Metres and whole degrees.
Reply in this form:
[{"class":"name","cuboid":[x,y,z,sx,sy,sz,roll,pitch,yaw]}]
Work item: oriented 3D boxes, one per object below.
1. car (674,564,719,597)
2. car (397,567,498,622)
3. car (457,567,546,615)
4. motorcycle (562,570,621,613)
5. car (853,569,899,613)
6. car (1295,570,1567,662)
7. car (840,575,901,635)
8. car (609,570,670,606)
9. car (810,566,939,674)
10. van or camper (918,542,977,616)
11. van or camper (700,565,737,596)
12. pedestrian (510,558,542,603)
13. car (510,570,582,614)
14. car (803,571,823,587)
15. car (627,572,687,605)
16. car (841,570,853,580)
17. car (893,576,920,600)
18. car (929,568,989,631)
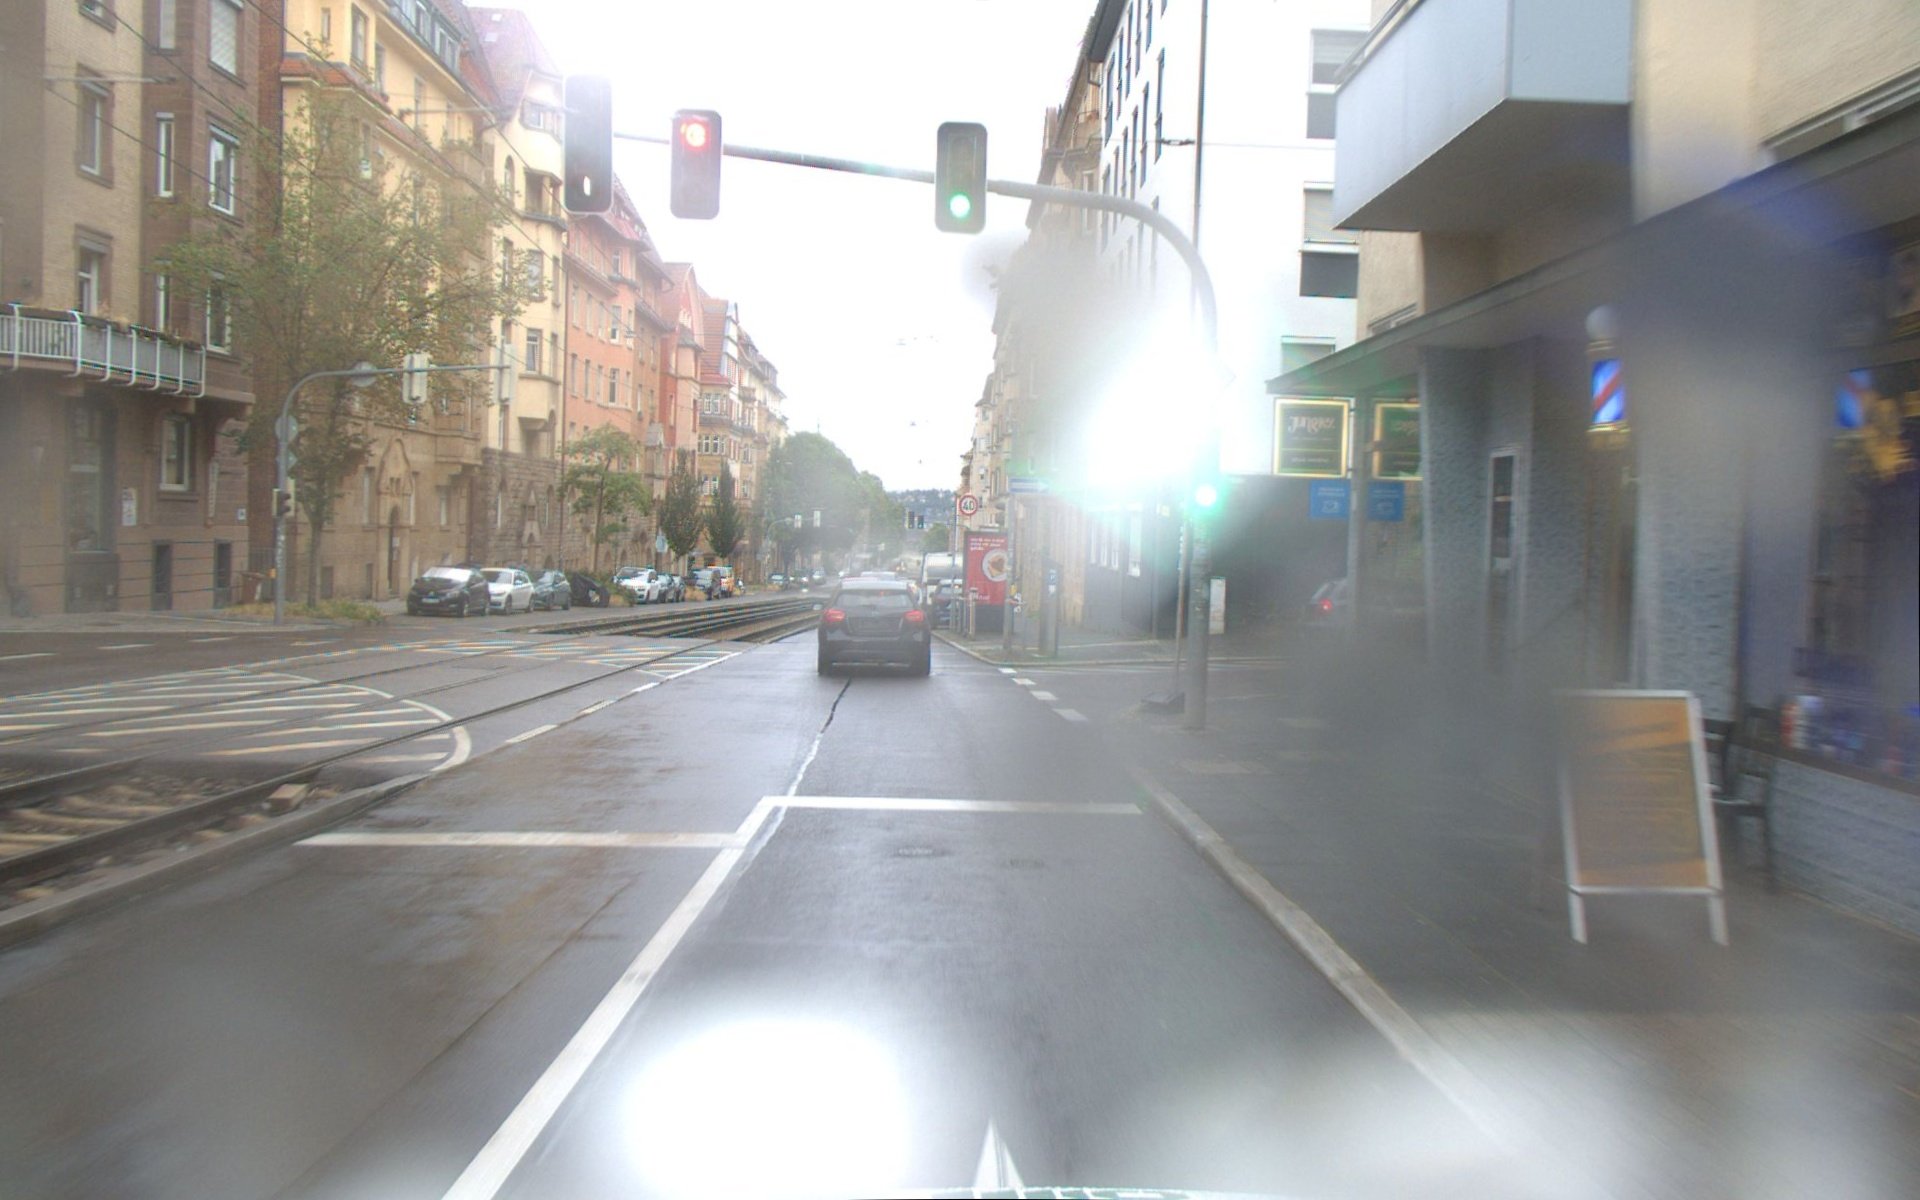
[{"class":"car","cuboid":[-16.092,-1.196,101.308,1.953,1.934,4.699,1,0,0]},{"class":"car","cuboid":[-15.082,-0.143,48.869,1.729,1.512,4.000,1,0,0]},{"class":"car","cuboid":[-14.910,-0.305,53.948,1.633,1.450,4.263,2,0,1]},{"class":"motorcycle","cuboid":[-15.172,-0.351,68.108,2.224,1.671,1.286,1,0,-18]},{"class":"car","cuboid":[-3.570,-0.405,69.733,1.884,1.684,3.997,0,2,-4]},{"class":"car","cuboid":[7.512,0.233,26.659,3.904,1.439,1.761,0,1,1]},{"class":"car","cuboid":[-2.542,0.095,47.444,1.504,1.536,4.000,2,2,0]},{"class":"car","cuboid":[-15.165,-0.581,78.562,1.747,1.617,4.353,1,0,4]},{"class":"car","cuboid":[-1.330,0.294,26.585,1.907,1.592,3.641,1,0,-2]},{"class":"van or camper","cuboid":[-0.458,-0.731,60.506,2.022,2.512,6.118,1,0,-1]},{"class":"van or camper","cuboid":[-15.910,-1.316,109.312,1.954,1.934,4.697,0,1,-3]},{"class":"pedestrian","cuboid":[-17.607,-0.786,67.157,0.986,1.784,0.924,3,0,0]},{"class":"car","cuboid":[-14.989,-0.310,60.004,1.529,1.463,4.147,0,2,0]},{"class":"car","cuboid":[-17.027,-2.451,191.291,1.953,1.825,4.000,2,1,-1]},{"class":"car","cuboid":[-15.442,-0.589,84.556,1.952,1.535,4.976,3,1,2]},{"class":"car","cuboid":[-17.463,-3.859,255.770,1.760,1.575,3.996,2,0,-4]},{"class":"car","cuboid":[-3.902,-0.868,121.651,1.864,1.621,3.999,1,0,-1]},{"class":"car","cuboid":[-0.058,-0.044,52.024,1.733,1.839,4.481,2,0,-1]}]
